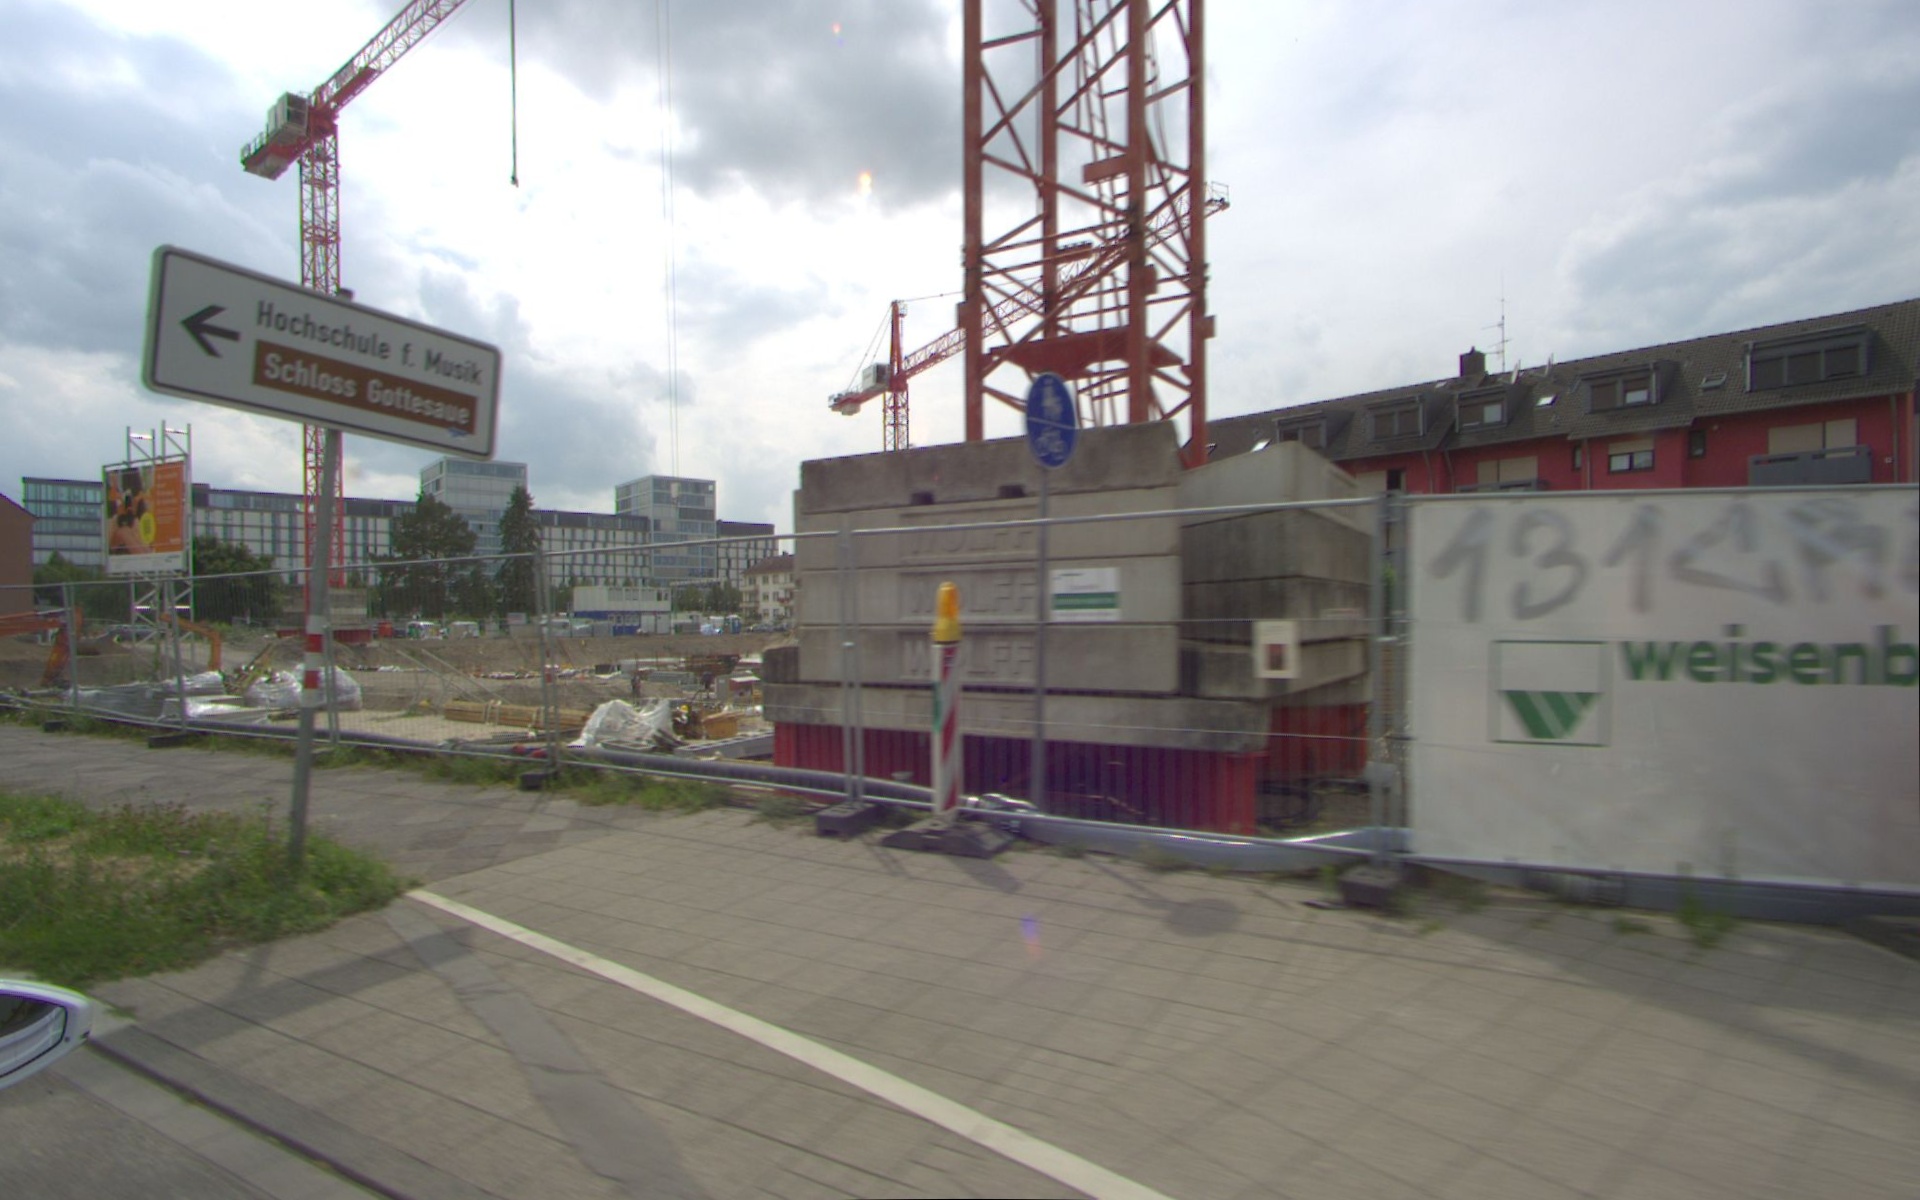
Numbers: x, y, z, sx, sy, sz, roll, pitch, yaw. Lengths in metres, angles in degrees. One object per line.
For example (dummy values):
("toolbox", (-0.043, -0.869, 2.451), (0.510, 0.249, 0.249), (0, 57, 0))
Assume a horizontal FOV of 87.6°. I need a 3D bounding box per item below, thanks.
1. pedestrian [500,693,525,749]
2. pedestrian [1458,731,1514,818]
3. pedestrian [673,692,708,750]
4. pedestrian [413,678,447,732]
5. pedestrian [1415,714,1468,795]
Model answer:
("pedestrian", (-15.107, 4.076, 33.780), (0.709, 1.745, 0.842), (-2, 1, -25))
("pedestrian", (11.618, 3.836, 22.123), (0.831, 1.745, 0.718), (-2, 1, -22))
("pedestrian", (-8.603, 3.861, 31.976), (0.828, 1.745, 0.720), (-1, 1, 6))
("pedestrian", (-18.273, 3.604, 34.554), (0.836, 1.745, 0.714), (-2, 1, -43))
("pedestrian", (11.272, 3.600, 23.453), (0.831, 1.745, 0.718), (-2, 1, -22))
